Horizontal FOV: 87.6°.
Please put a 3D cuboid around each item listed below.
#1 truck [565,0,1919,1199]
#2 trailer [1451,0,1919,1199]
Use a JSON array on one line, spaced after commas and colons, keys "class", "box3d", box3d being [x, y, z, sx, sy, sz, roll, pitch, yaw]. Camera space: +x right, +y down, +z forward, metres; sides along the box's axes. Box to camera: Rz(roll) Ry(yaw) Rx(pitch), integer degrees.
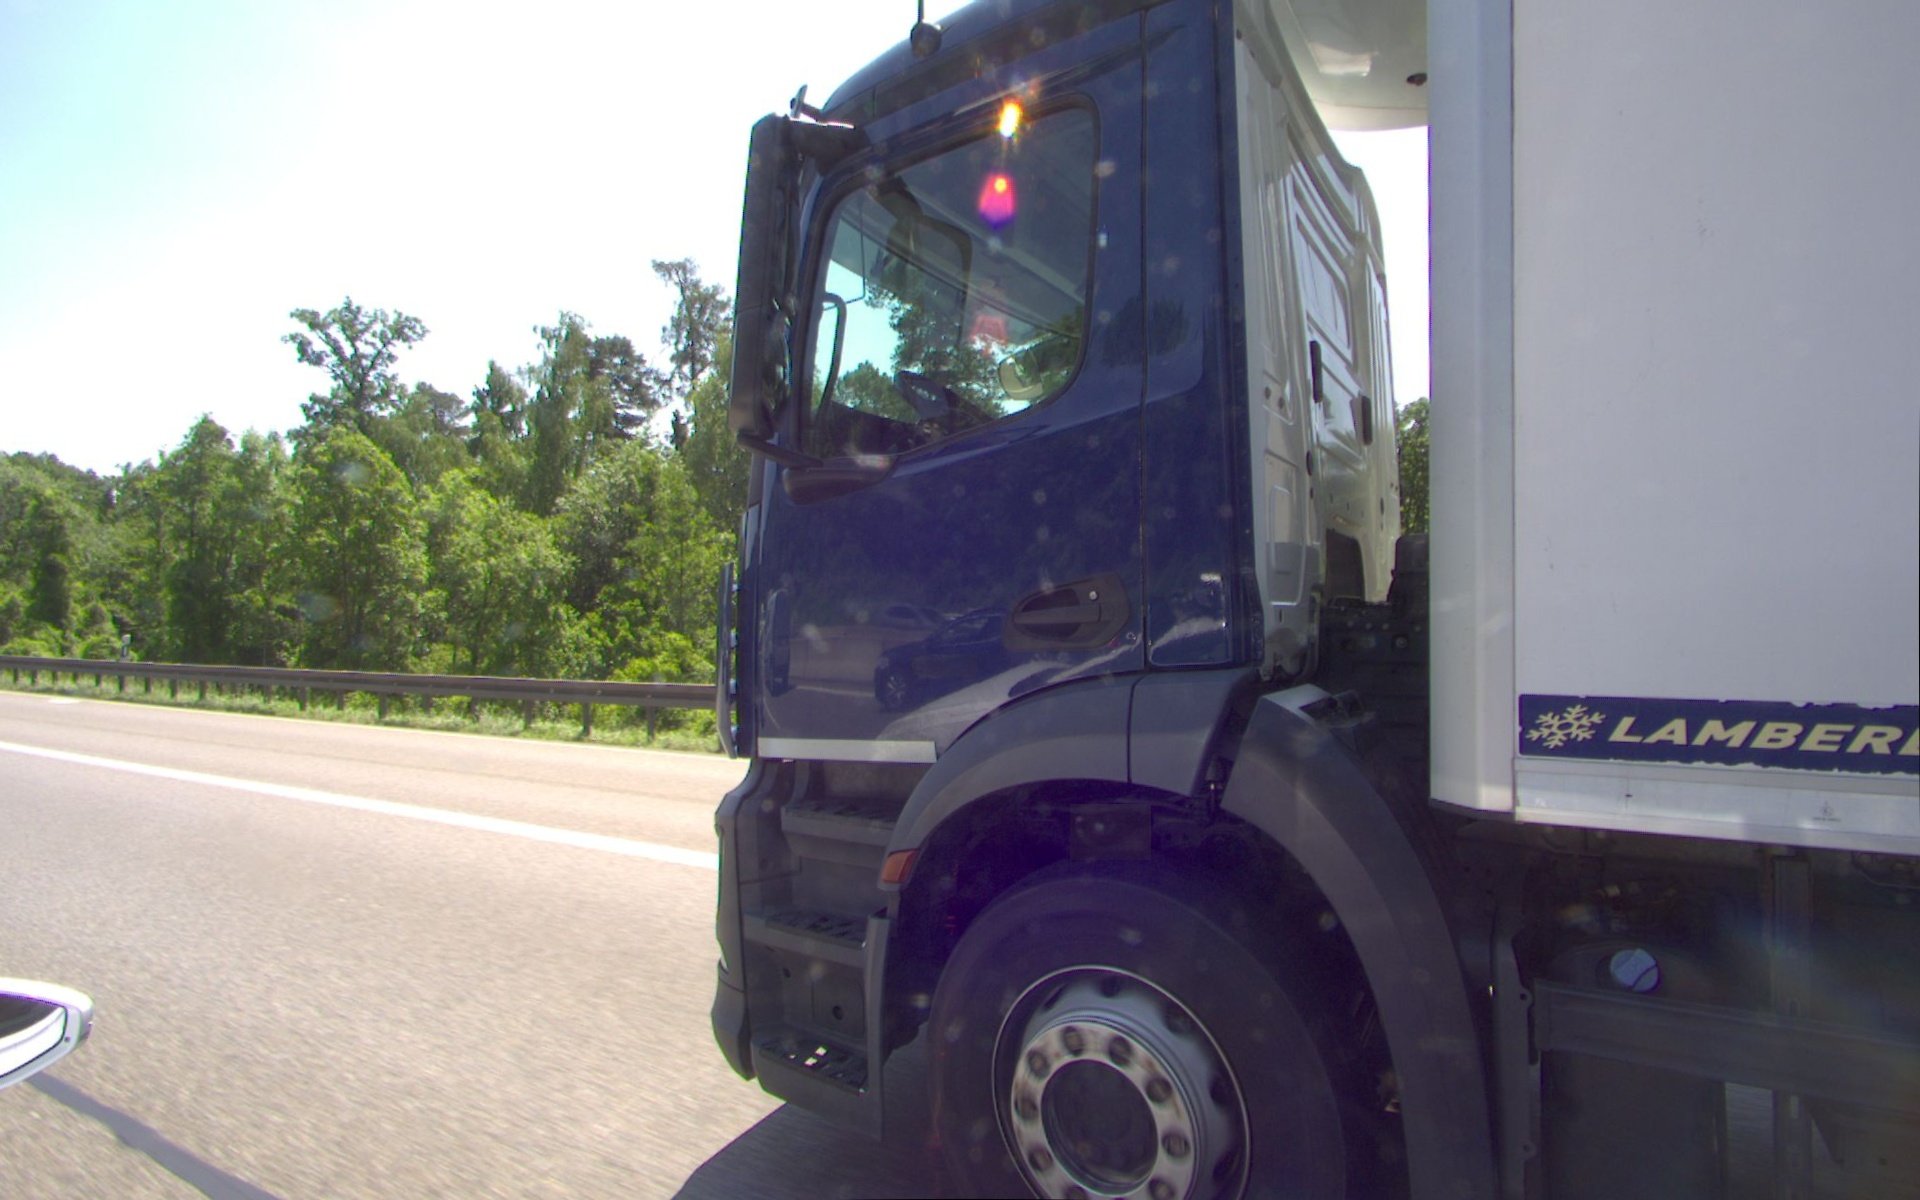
[{"class": "truck", "box3d": [1.384, -0.012, 2.565, 4.047, 2.979, 2.550, -2, -1, 33]}, {"class": "trailer", "box3d": [4.675, -0.116, 0.528, 7.767, 2.936, 2.552, -1, -1, 31]}]
